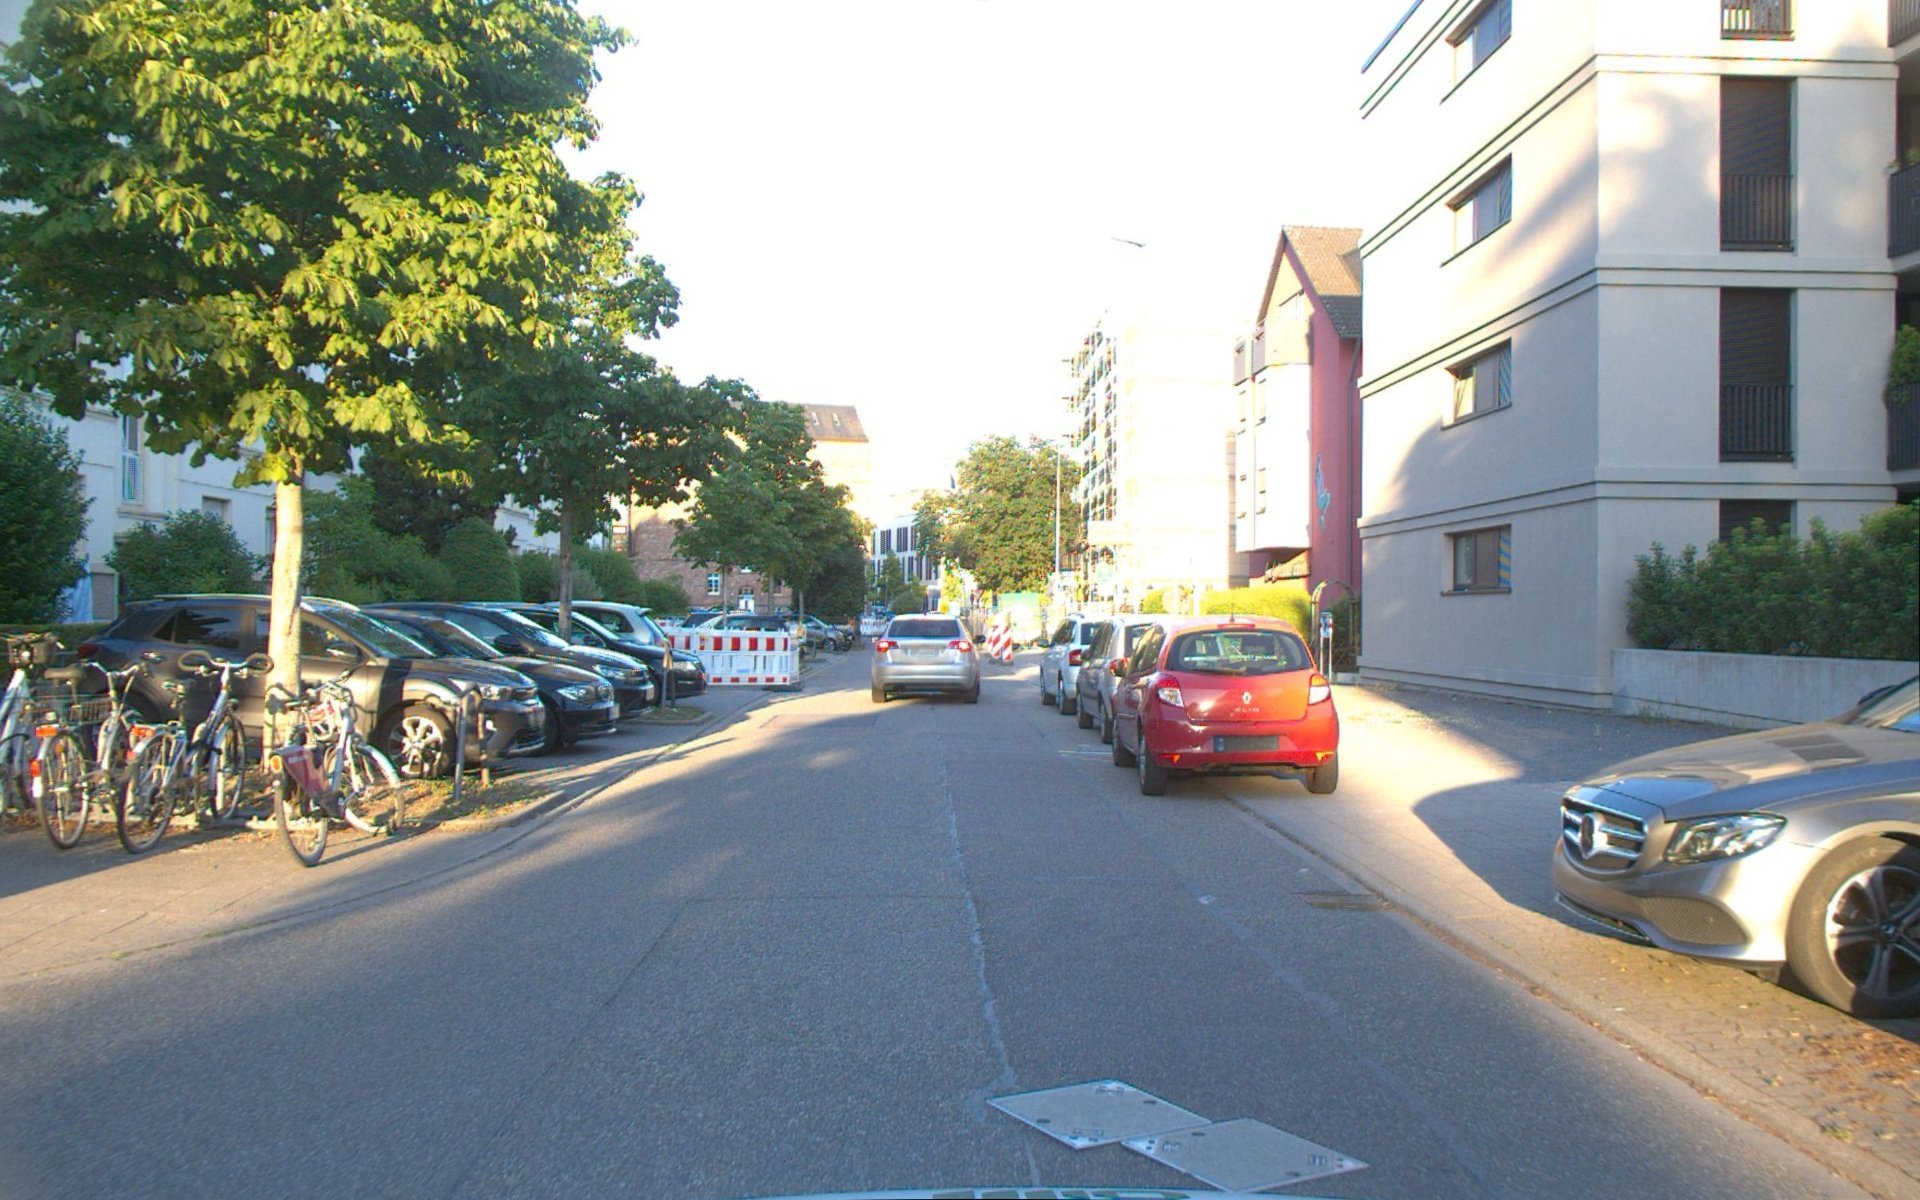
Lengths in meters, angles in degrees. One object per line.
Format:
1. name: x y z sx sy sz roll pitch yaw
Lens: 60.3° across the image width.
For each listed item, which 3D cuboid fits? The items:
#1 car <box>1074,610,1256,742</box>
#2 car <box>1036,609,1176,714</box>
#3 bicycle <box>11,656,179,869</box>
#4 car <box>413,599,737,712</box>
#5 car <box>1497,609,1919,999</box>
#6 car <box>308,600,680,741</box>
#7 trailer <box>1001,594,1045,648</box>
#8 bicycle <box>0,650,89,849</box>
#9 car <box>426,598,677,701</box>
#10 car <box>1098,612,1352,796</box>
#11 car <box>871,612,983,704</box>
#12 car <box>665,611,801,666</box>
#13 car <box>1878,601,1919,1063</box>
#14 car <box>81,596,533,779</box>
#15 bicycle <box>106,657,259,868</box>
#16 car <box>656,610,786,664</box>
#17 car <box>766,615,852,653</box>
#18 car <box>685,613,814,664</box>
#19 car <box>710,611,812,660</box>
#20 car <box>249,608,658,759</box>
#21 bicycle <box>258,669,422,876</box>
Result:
1. car: 2.481 0.882 20.836 1.761 1.495 3.842 0 0 -1
2. car: 2.193 0.899 25.781 1.582 1.495 3.993 0 0 -4
3. bicycle: -5.320 0.956 10.249 0.273 1.178 1.526 0 0 -2
4. car: -5.702 0.812 24.853 4.415 1.510 1.728 2 0 0
5. car: 4.946 0.749 7.085 4.718 1.422 1.770 -1 0 1
6. car: -5.547 0.818 20.027 3.949 1.510 1.728 2 0 0
7. trailer: 3.044 1.000 80.795 1.953 2.584 4.185 0 0 -1
8. bicycle: -5.960 0.918 10.319 0.273 1.178 1.526 0 0 -2
9. car: -6.615 0.790 27.082 3.624 1.510 1.728 2 0 0
10. car: 2.320 0.860 15.357 1.705 1.495 3.758 0 0 -1
11. car: -0.547 0.921 27.773 1.739 1.421 4.106 0 0 -1
12. car: -6.458 1.096 47.381 3.602 1.471 1.728 1 -2 0
13. car: 5.131 0.736 4.766 3.971 1.527 1.770 -1 0 1
14. car: -5.834 0.757 15.085 3.372 1.468 1.762 2 0 0
15. bicycle: -4.820 0.965 10.335 0.273 1.178 1.526 0 0 -2
16. car: -7.167 1.112 49.834 3.602 1.510 1.728 1 -2 0
17. car: -6.443 1.462 70.857 3.550 1.584 1.692 0 -1 -2
18. car: -6.723 1.243 53.086 3.896 1.515 1.728 1 -2 0
19. car: -6.885 1.248 57.417 3.406 1.594 1.726 1 -2 -5
20. car: -5.245 0.847 17.446 3.763 1.409 1.607 2 0 0
21. bicycle: -3.787 1.014 10.210 0.438 1.115 1.628 0 0 -2
